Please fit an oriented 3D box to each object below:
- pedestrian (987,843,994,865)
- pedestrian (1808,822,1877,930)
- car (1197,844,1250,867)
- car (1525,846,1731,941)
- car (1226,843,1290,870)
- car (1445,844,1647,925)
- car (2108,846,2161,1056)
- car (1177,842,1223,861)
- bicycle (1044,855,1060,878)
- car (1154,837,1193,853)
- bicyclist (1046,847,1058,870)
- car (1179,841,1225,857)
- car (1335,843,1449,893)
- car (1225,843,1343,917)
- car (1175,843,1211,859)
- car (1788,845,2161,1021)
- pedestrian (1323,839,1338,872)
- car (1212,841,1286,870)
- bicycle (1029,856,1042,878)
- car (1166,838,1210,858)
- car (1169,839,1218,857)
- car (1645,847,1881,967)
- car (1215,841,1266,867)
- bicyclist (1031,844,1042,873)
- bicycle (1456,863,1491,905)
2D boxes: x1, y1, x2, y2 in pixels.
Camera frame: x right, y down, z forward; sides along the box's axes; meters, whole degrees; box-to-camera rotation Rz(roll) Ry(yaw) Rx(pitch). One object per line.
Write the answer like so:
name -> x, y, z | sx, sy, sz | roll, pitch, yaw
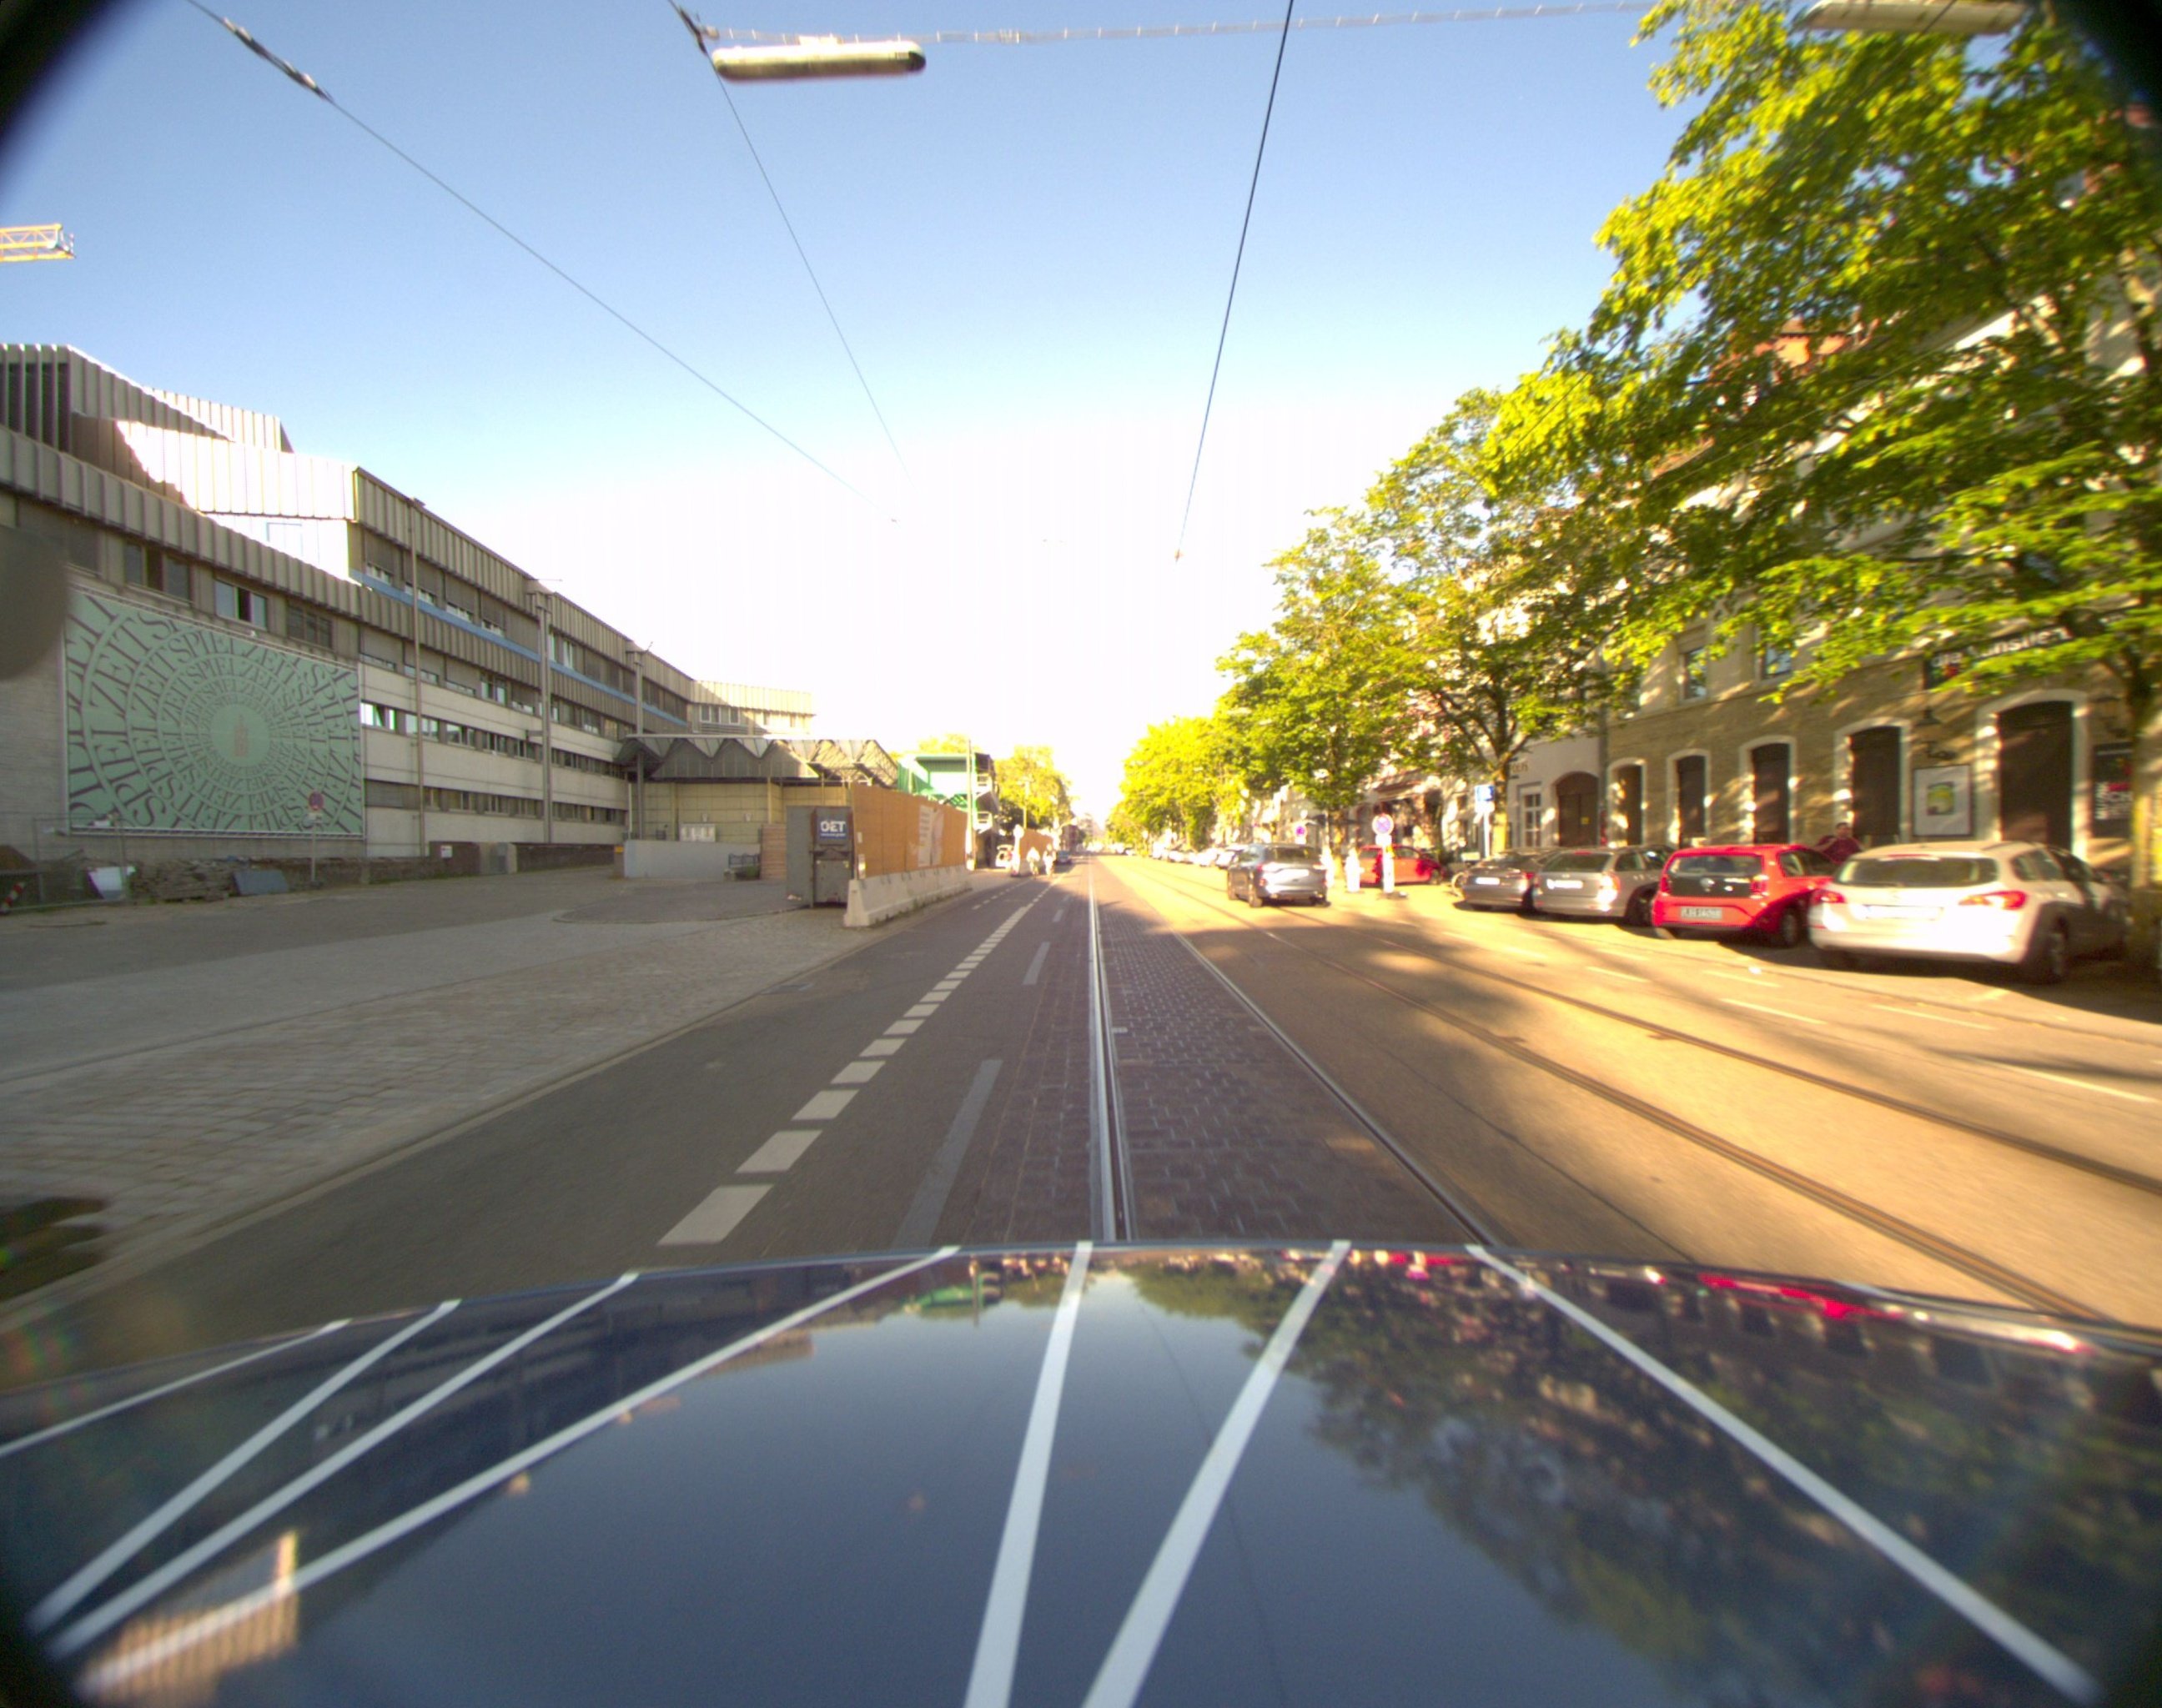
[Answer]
pedestrian -> -7.159, -0.006, 60.396 | 0.449, 1.748, 0.377 | -2, 2, -19
pedestrian -> 14.419, 0.400, 14.401 | 0.733, 2.002, 0.556 | -1, 2, 2
car -> 11.373, 0.100, 60.587 | 3.650, 1.521, 1.883 | -4, 2, -19
car -> 10.578, 0.674, 14.681 | 3.689, 1.462, 1.749 | -3, 2, -28
car -> 10.773, 0.147, 46.115 | 3.909, 1.600, 1.569 | 0, 1, -35
car -> 10.646, 0.622, 17.383 | 4.208, 1.482, 1.939 | -3, 1, -26
car -> 10.685, 0.752, 5.489 | 4.115, 1.668, 1.840 | -1, 1, -1
car -> 11.348, -0.258, 72.322 | 4.003, 1.667, 1.699 | -2, 1, -19
bicycle -> -1.541, 0.651, 40.642 | 0.669, 1.148, 2.276 | -2, 1, 2
car -> 12.098, -1.213, 99.283 | 4.934, 2.002, 2.076 | -1, 1, 8
bicyclist -> -1.544, 0.228, 40.631 | 0.653, 1.231, 0.353 | 0, 1, -1
car -> 11.944, -0.505, 75.106 | 4.174, 1.543, 1.700 | 0, 1, -15
car -> 11.045, 0.478, 26.950 | 3.629, 1.544, 1.665 | -3, 0, -25
car -> 5.119, 0.569, 19.770 | 1.932, 1.620, 4.247 | -1, 2, 0
car -> 11.477, -0.336, 77.808 | 3.375, 1.544, 1.383 | -1, 1, -11
car -> 10.532, 0.748, 8.938 | 4.122, 1.504, 1.837 | -3, 1, -25
pedestrian -> 14.135, 0.087, 43.013 | 0.645, 1.827, 0.624 | 0, 1, 2
car -> 11.341, 0.083, 51.172 | 4.949, 1.784, 2.203 | -2, 1, -37
bicycle -> -2.449, 0.681, 41.062 | 0.558, 1.120, 2.275 | -1, 1, 0
car -> 11.879, -0.642, 84.431 | 4.448, 2.106, 2.163 | -1, 1, -1
car -> 11.902, -0.649, 80.690 | 4.841, 1.714, 2.163 | -1, 1, -1
car -> 10.679, 0.730, 11.878 | 3.378, 1.484, 1.609 | -3, 1, -27
car -> 11.336, -0.017, 53.933 | 3.452, 1.832, 1.728 | -1, 1, -36
bicyclist -> -2.440, 0.242, 41.381 | 0.557, 1.604, 0.576 | 0, 1, -1
bicycle -> 10.722, 0.798, 20.749 | 1.597, 1.089, 0.332 | -1, 2, -44
